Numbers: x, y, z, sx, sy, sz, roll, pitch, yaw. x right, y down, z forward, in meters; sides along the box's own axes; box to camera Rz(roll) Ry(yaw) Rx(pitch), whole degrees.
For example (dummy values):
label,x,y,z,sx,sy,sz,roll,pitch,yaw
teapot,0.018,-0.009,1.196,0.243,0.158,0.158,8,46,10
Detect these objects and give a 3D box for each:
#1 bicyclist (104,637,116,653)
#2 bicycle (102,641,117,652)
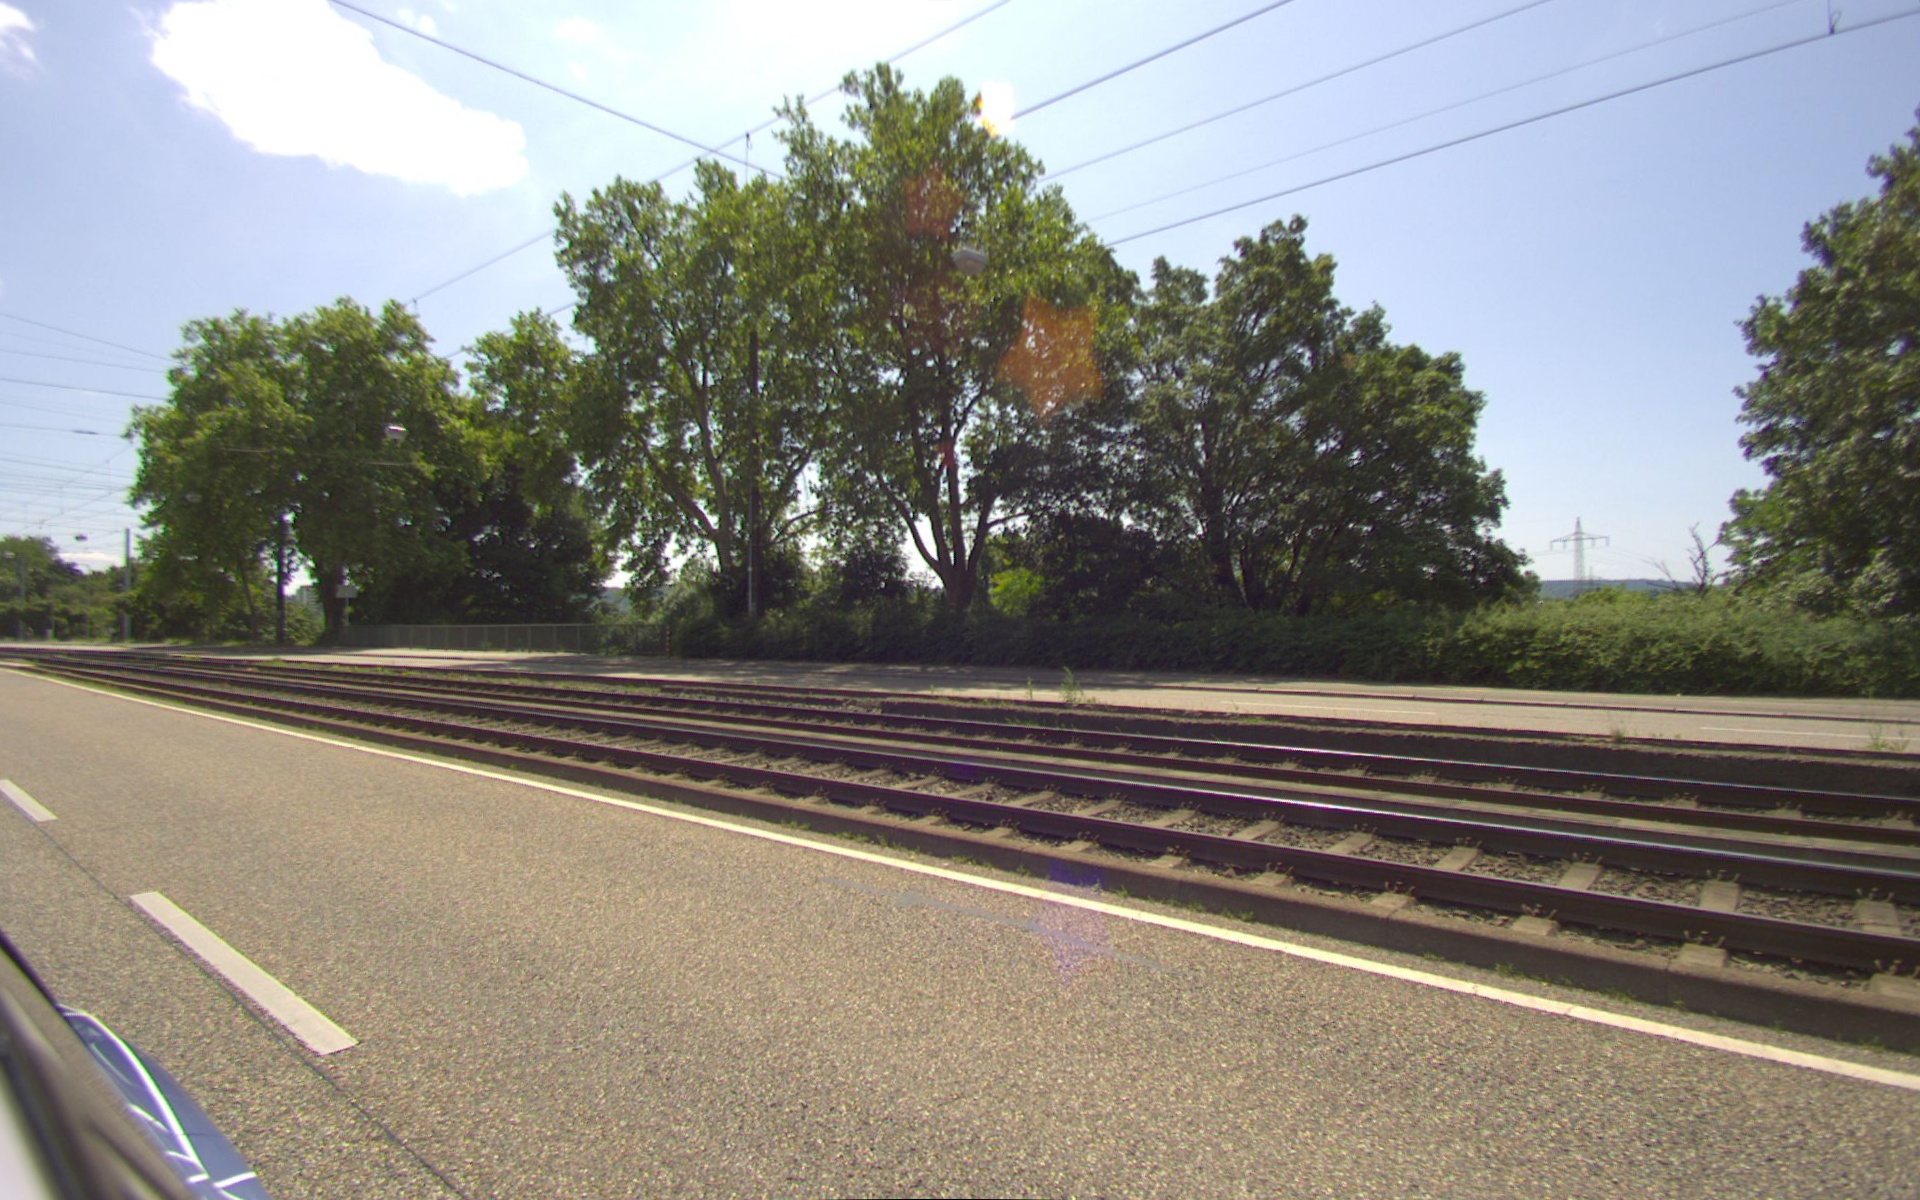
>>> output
label,x,y,z,sx,sy,sz,roll,pitch,yaw
bicyclist,-80.301,4.207,95.629,0.917,1.495,0.704,-2,-2,39
bicycle,-80.400,4.396,95.684,2.181,0.924,0.704,-2,-2,39
